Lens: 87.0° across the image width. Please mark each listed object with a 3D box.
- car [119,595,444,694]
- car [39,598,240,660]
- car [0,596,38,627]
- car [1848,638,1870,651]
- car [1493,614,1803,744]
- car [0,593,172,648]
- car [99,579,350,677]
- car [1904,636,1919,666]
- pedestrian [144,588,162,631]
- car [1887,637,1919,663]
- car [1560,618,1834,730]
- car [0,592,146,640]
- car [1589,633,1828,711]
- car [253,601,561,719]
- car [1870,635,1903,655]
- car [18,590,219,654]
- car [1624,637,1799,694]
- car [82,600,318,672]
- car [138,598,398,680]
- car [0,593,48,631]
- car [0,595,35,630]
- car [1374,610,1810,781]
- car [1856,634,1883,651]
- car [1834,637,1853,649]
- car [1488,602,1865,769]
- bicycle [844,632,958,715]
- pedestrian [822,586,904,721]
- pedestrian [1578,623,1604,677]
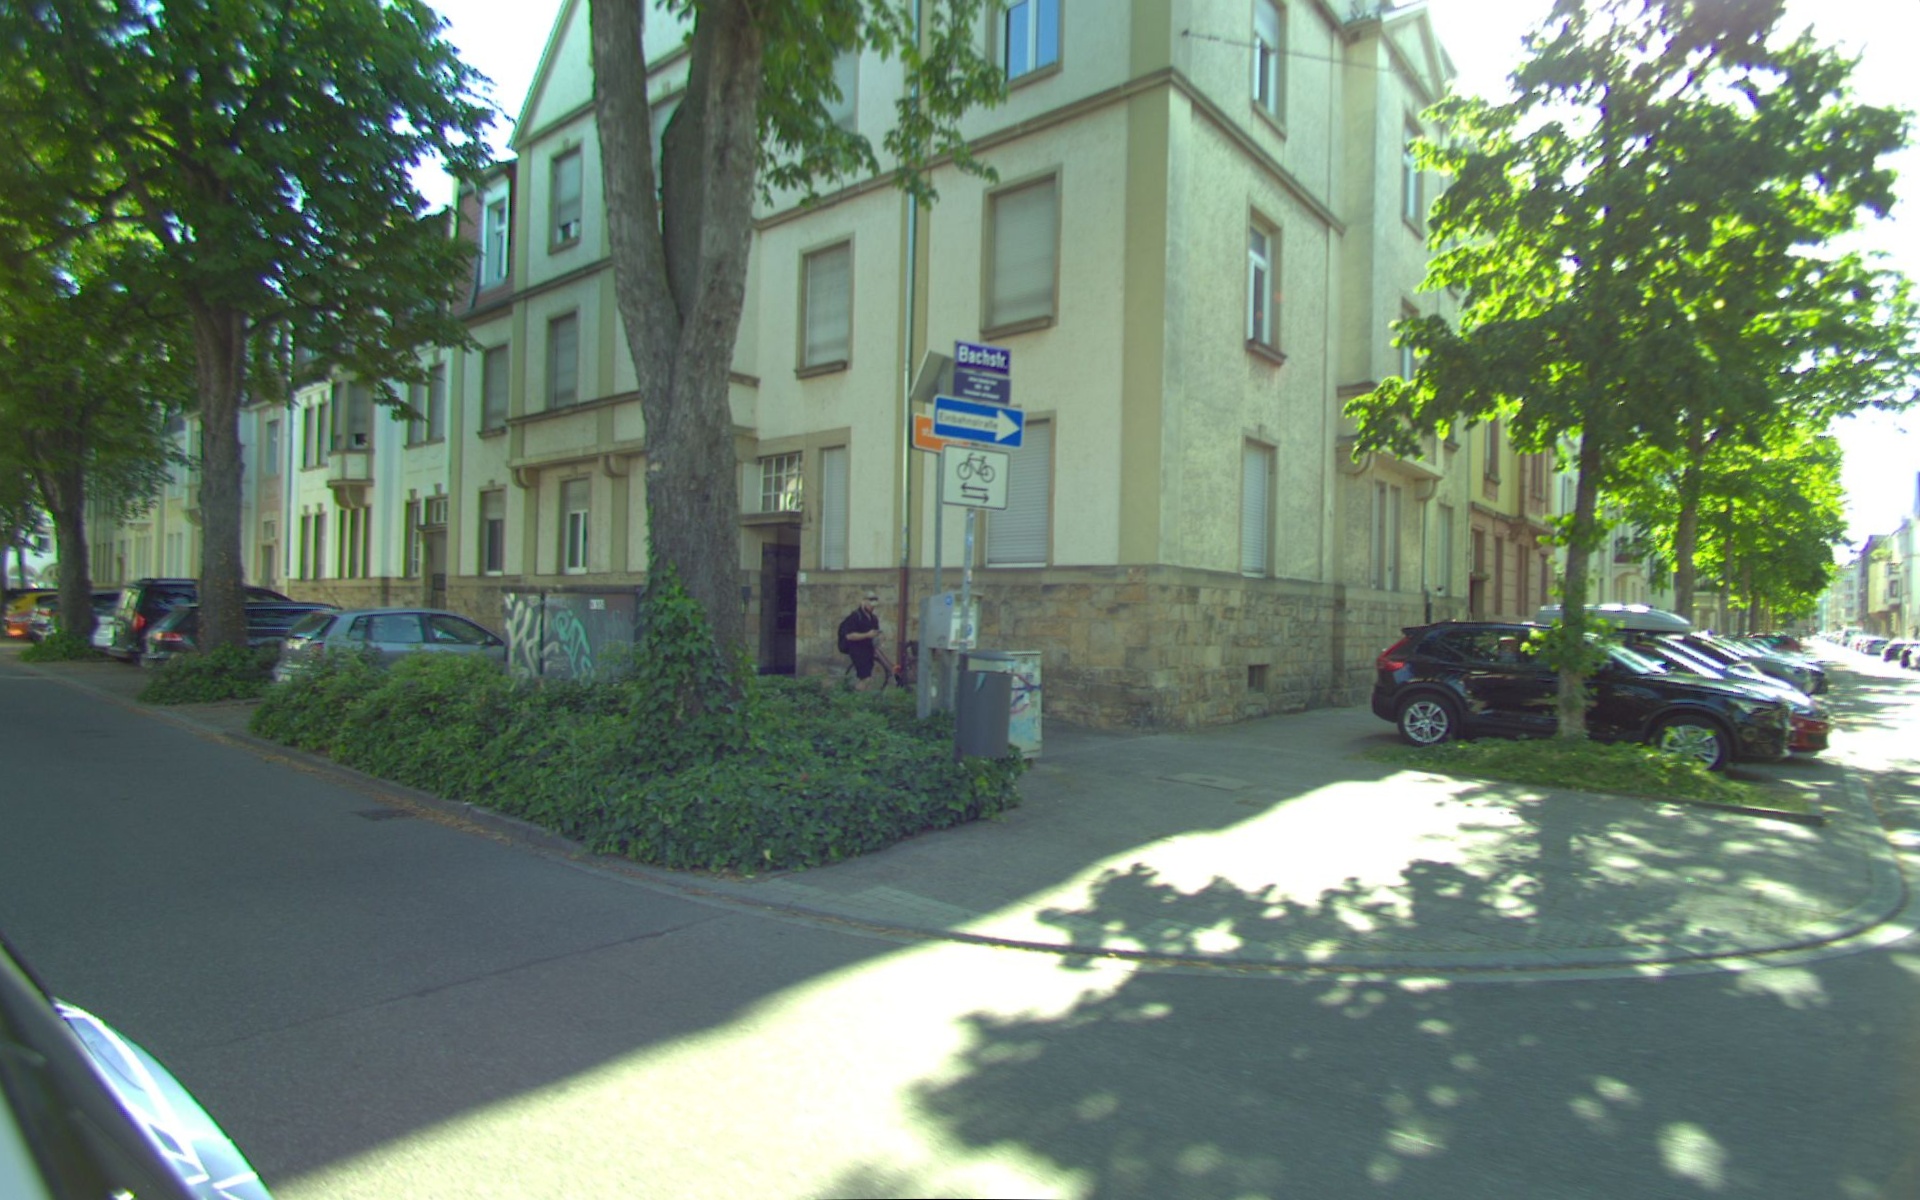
[{"bbox_3d":[-12.028,0.729,18.224,1.889,1.514,4.488,1,0,38],"label":"car"},{"bbox_3d":[-21.120,0.710,26.135,1.860,1.457,3.858,1,0,44],"label":"car"},{"bbox_3d":[-43.339,0.486,44.301,1.702,1.359,4.170,2,0,39],"label":"car"},{"bbox_3d":[106.015,5.203,119.331,1.801,1.476,4.360,1,-1,41],"label":"car"},{"bbox_3d":[10.817,1.140,16.054,3.889,1.747,1.777,1,-1,41],"label":"car"},{"bbox_3d":[-26.662,0.599,30.796,1.746,1.526,3.947,2,0,39],"label":"car"},{"bbox_3d":[-15.450,0.551,21.418,1.827,1.869,3.941,1,0,38],"label":"car"},{"bbox_3d":[50.855,2.672,53.023,1.801,1.476,4.360,1,-1,41],"label":"car"},{"bbox_3d":[-31.947,0.372,40.072,0.454,1.670,0.896,2,-1,-42],"label":"pedestrian"},{"bbox_3d":[58.621,3.061,62.511,1.801,1.476,4.360,1,-1,41],"label":"car"},{"bbox_3d":[13.303,1.242,18.389,3.889,1.747,1.777,1,-1,41],"label":"car"},{"bbox_3d":[-29.635,0.513,33.643,1.862,1.473,3.751,1,0,41],"label":"car"},{"bbox_3d":[16.089,1.477,21.859,3.999,1.397,1.752,1,-1,42],"label":"car"},{"bbox_3d":[-8.030,0.803,14.944,1.640,1.499,3.638,1,0,39],"label":"car"},{"bbox_3d":[73.997,3.571,80.853,1.801,1.476,4.360,1,-1,41],"label":"car"},{"bbox_3d":[-22.921,0.552,27.667,1.857,1.604,3.948,1,0,39],"label":"car"},{"bbox_3d":[22.104,1.865,29.851,3.999,1.431,1.780,1,-1,42],"label":"car"},{"bbox_3d":[-17.142,0.773,22.988,1.738,1.458,3.951,1,0,36],"label":"car"},{"bbox_3d":[-13.773,0.732,20.332,1.826,1.448,3.942,1,0,37],"label":"car"},{"bbox_3d":[-39.743,0.464,40.996,1.784,1.493,3.945,1,0,41],"label":"car"},{"bbox_3d":[-41.513,0.510,42.796,1.703,1.463,3.397,2,0,42],"label":"car"},{"bbox_3d":[7.556,0.992,12.317,4.248,1.652,1.973,1,-1,41],"label":"car"},{"bbox_3d":[87.425,4.059,97.349,1.801,1.476,4.360,1,-1,41],"label":"car"},{"bbox_3d":[118.187,5.693,135.430,1.801,1.476,4.360,1,-1,41],"label":"car"},{"bbox_3d":[9.703,1.027,13.898,3.998,1.913,1.973,1,-1,41],"label":"car"},{"bbox_3d":[-0.889,1.058,14.958,1.697,1.106,0.621,1,-1,39],"label":"bicycle"},{"bbox_3d":[-1.256,0.662,13.048,0.832,1.672,0.626,1,-1,40],"label":"pedestrian"},{"bbox_3d":[19.019,1.504,30.512,0.576,1.575,0.476,1,-1,42],"label":"pedestrian"}]
